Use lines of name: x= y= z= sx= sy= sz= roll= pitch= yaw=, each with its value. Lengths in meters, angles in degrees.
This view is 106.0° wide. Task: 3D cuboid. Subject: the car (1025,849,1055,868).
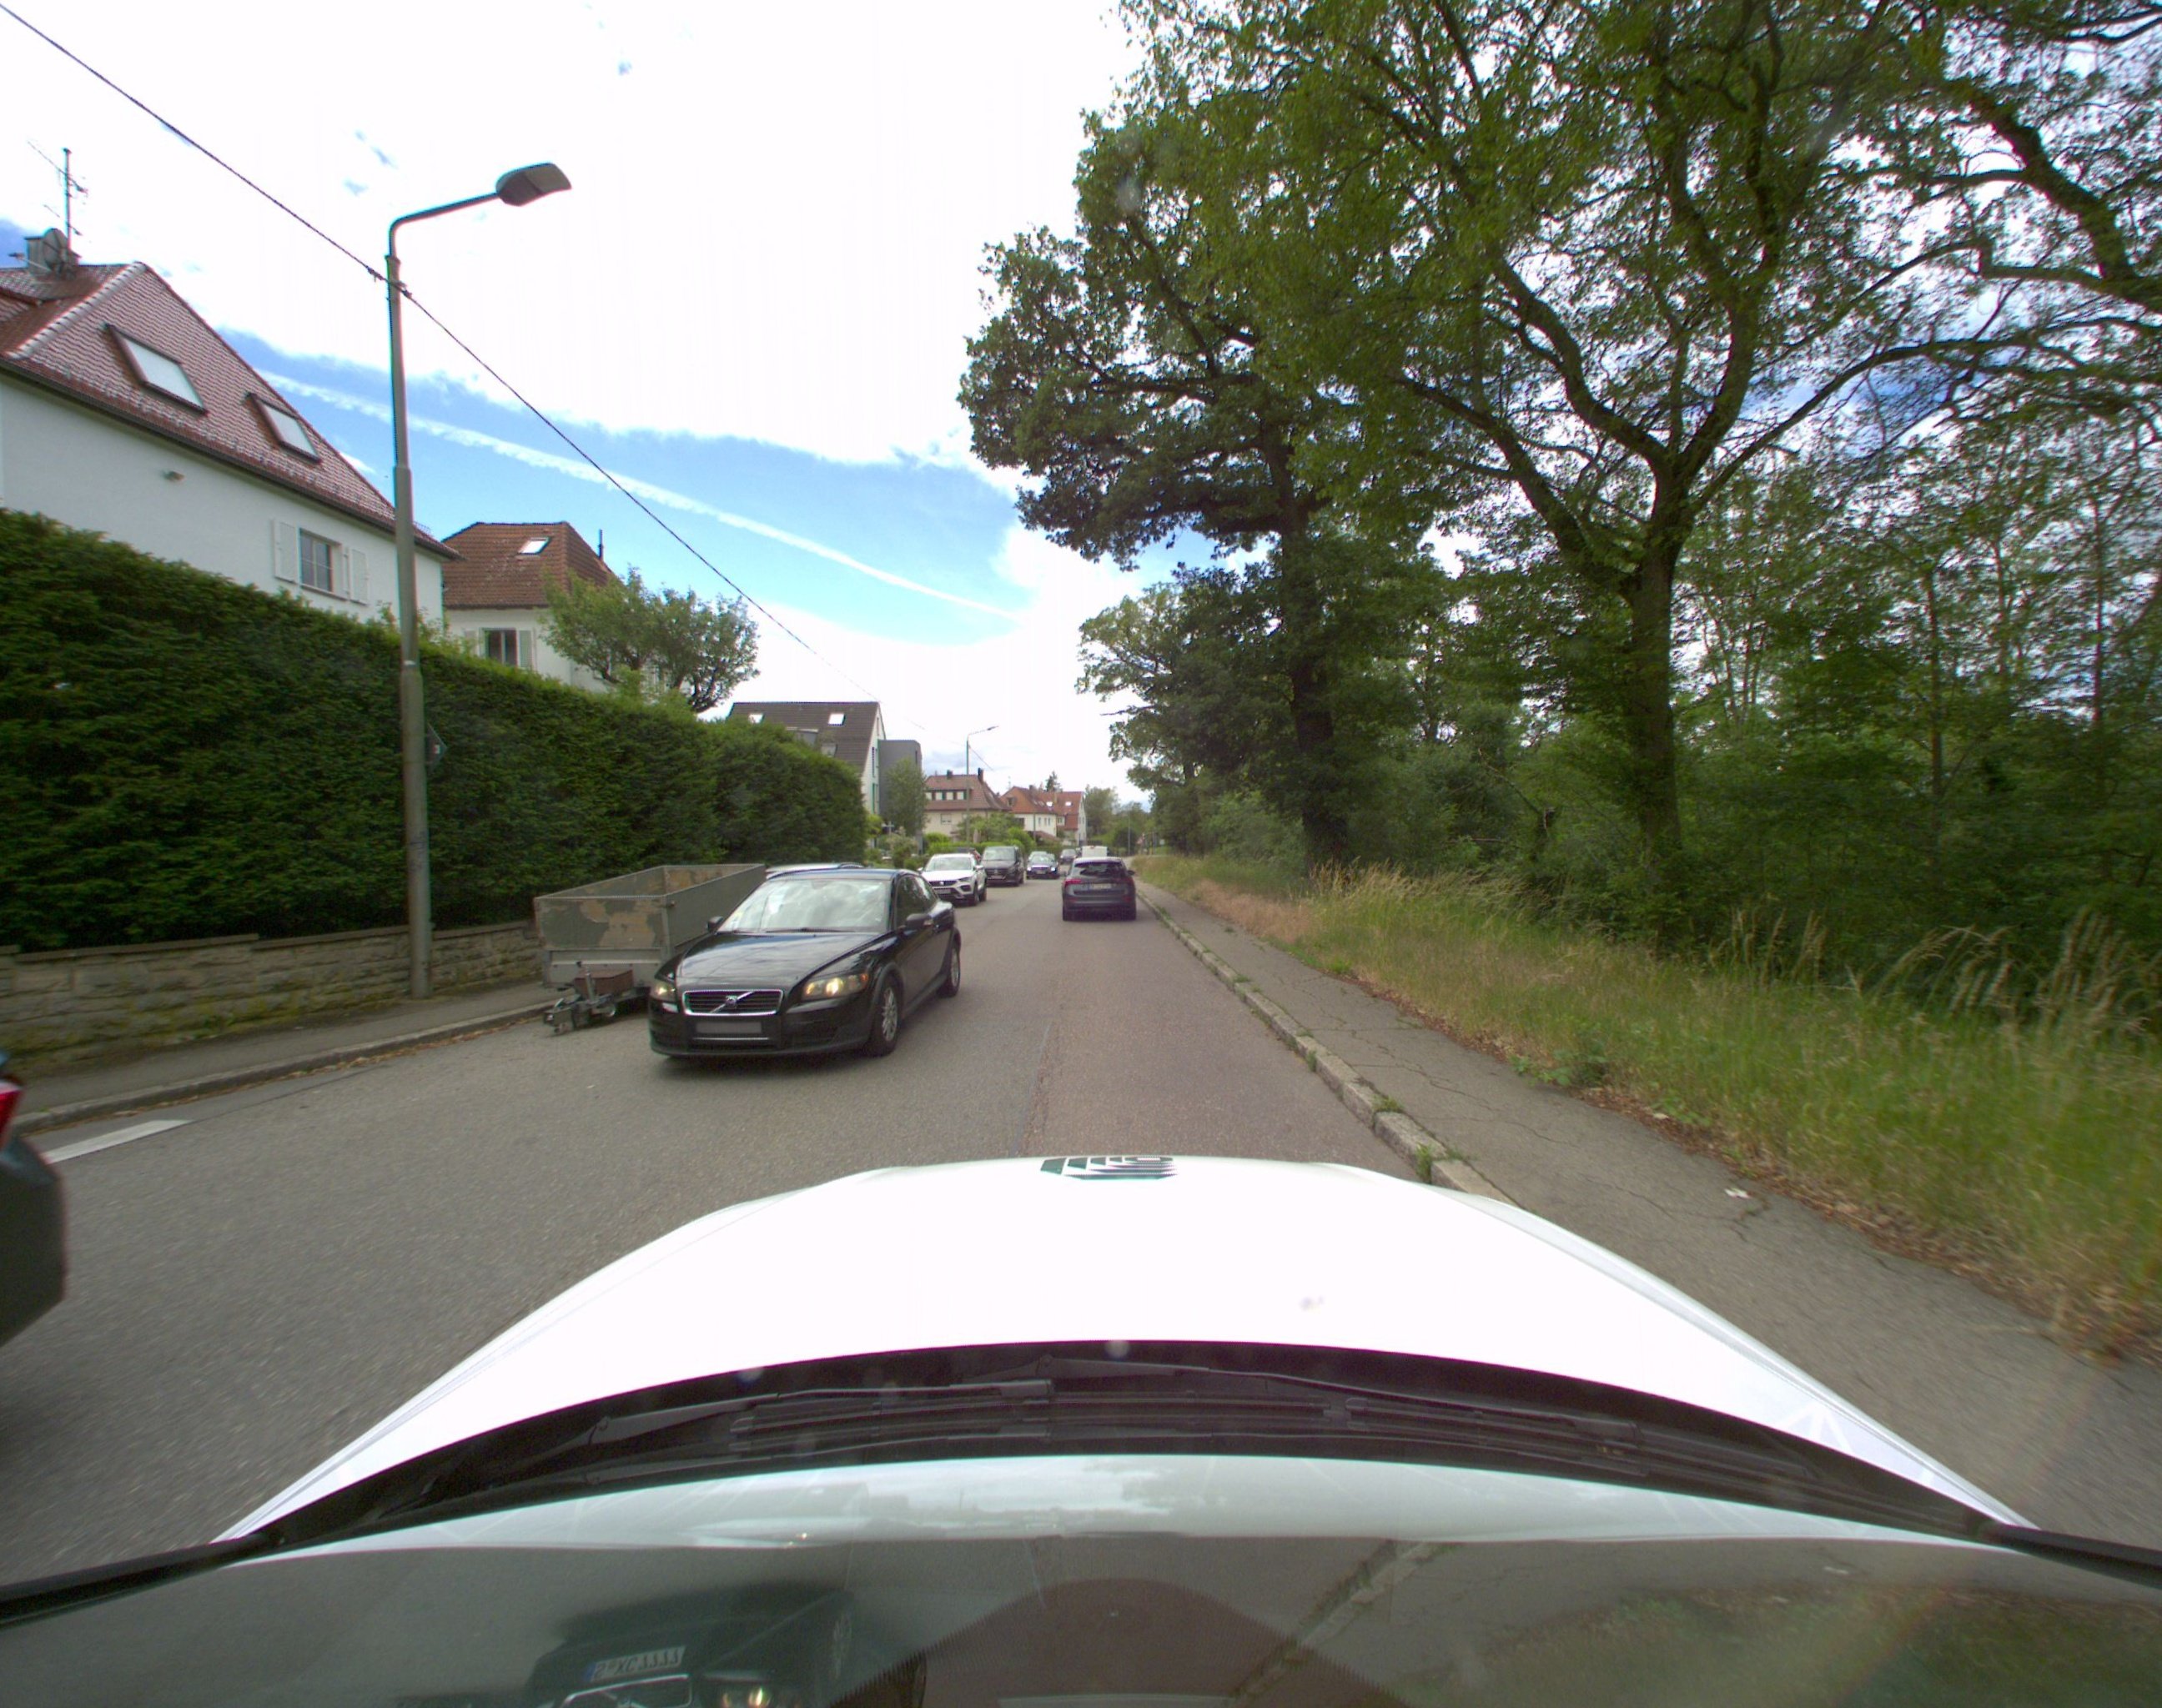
car: x=-3.223 y=0.345 z=64.331 sx=1.775 sy=1.500 sz=4.020 roll=0 pitch=0 yaw=5

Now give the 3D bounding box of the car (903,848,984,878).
car: x=-8.226 y=0.530 z=49.118 sx=4.605 sy=1.697 sz=1.998 roll=-1 pitch=0 yaw=-3

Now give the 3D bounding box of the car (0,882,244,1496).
car: x=-3.414 y=0.837 z=0.254 sx=1.759 sy=1.446 sz=4.469 roll=-1 pitch=0 yaw=-2

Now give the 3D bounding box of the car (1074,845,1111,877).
car: x=0.694 y=0.395 z=51.325 sx=2.066 sy=1.922 sz=4.918 roll=0 pitch=0 yaw=-2

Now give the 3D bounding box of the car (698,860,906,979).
car: x=-4.290 y=0.909 z=13.366 sx=1.757 sy=1.499 sz=4.473 roll=-3 pitch=0 yaw=0

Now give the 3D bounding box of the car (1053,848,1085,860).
car: x=-1.628 y=-0.036 z=110.421 sx=3.963 sy=1.618 sz=2.005 roll=-1 pitch=0 yaw=9

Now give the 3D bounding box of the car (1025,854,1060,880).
car: x=-2.207 y=0.740 z=47.768 sx=1.857 sy=1.414 sz=4.591 roll=0 pitch=0 yaw=0

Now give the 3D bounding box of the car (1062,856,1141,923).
car: x=0.400 y=0.795 z=20.289 sx=1.723 sy=1.439 sz=4.320 roll=0 pitch=0 yaw=-2

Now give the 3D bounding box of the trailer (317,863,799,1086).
trailer: x=-4.529 y=0.890 z=8.076 sx=1.757 sy=1.496 sz=4.475 roll=-1 pitch=0 yaw=1

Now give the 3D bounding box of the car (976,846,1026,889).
car: x=-3.774 y=0.590 z=39.074 sx=1.857 sy=1.926 sz=5.037 roll=0 pitch=0 yaw=0

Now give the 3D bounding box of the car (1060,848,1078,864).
car: x=-1.229 y=0.158 z=86.121 sx=1.828 sy=1.597 sz=4.323 roll=0 pitch=1 yaw=0

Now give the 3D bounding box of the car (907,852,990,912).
car: x=-4.063 y=0.810 z=25.626 sx=1.832 sy=1.648 sz=4.185 roll=-3 pitch=0 yaw=0

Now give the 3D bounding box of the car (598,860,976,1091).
car: x=-2.253 y=0.828 z=7.664 sx=1.757 sy=1.446 sz=4.476 roll=-1 pitch=0 yaw=2
